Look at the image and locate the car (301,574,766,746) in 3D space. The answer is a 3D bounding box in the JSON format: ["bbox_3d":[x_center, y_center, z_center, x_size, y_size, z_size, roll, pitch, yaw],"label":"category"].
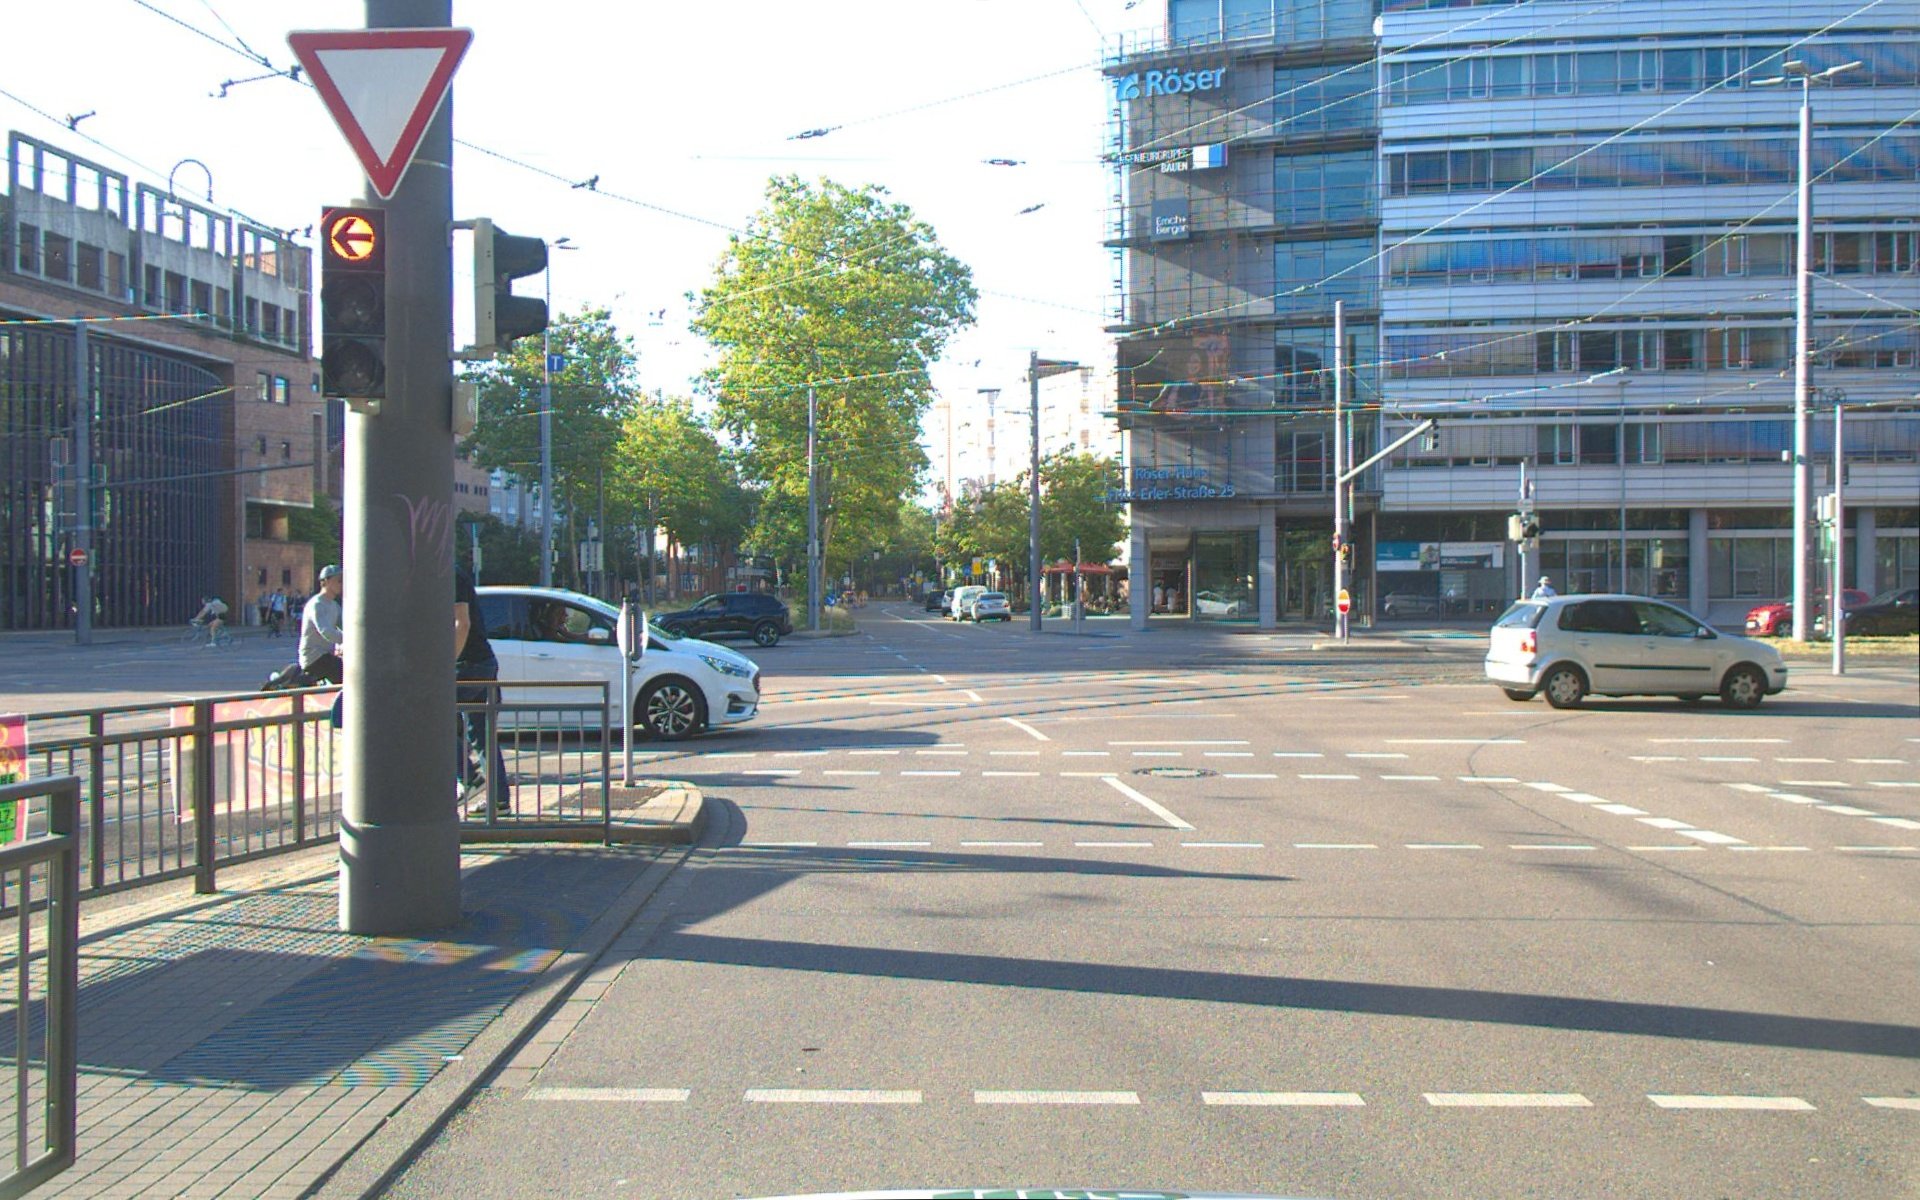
[{"bbox_3d":[-4.558,0.609,18.383,4.741,1.758,1.997,0,0,-7],"label":"car"}]

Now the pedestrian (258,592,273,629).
[{"bbox_3d":[-34.735,0.500,82.730,0.479,1.842,0.546,-1,0,6],"label":"pedestrian"}]

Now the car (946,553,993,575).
[{"bbox_3d":[0.803,-3.091,141.256,3.681,1.780,1.783,1,0,14],"label":"car"}]

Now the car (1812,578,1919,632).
[{"bbox_3d":[25.380,0.113,44.310,4.151,1.417,1.796,-1,0,4],"label":"car"}]

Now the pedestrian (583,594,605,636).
[{"bbox_3d":[-13.850,0.569,62.604,0.740,1.557,0.507,1,0,-8],"label":"pedestrian"}]

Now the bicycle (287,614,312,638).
[{"bbox_3d":[-26.111,1.019,65.416,0.503,0.897,1.835,-1,0,-8],"label":"bicycle"}]

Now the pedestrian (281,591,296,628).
[{"bbox_3d":[-34.061,0.487,83.916,0.479,1.842,0.546,-1,0,6],"label":"pedestrian"}]

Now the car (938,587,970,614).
[{"bbox_3d":[-0.384,0.019,104.999,1.953,1.691,3.999,-1,0,-1],"label":"car"}]

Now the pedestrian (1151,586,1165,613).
[{"bbox_3d":[10.979,-0.037,91.810,0.723,1.491,0.537,-1,0,8],"label":"pedestrian"}]

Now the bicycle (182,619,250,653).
[{"bbox_3d":[-21.379,1.030,47.557,1.714,0.915,0.407,-1,0,-17],"label":"bicycle"}]

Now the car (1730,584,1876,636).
[{"bbox_3d":[25.513,0.302,50.136,3.520,1.492,1.797,-1,0,6],"label":"car"}]

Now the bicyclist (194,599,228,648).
[{"bbox_3d":[-21.513,0.660,47.514,0.806,1.390,0.398,-1,0,-17],"label":"bicyclist"}]

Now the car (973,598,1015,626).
[{"bbox_3d":[1.662,0.587,82.875,1.953,1.355,3.999,-1,0,-1],"label":"car"}]

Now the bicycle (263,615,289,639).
[{"bbox_3d":[-26.905,1.050,65.098,0.503,0.897,1.835,-1,0,-8],"label":"bicycle"}]

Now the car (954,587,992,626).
[{"bbox_3d":[0.671,0.338,89.699,1.953,2.026,3.999,-1,0,-1],"label":"car"}]

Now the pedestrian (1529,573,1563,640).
[{"bbox_3d":[15.209,0.175,42.925,0.704,1.711,0.557,1,0,6],"label":"pedestrian"}]

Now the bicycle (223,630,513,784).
[{"bbox_3d":[-5.108,0.905,14.382,2.112,1.248,1.073,0,1,3],"label":"bicycle"}]

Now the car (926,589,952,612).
[{"bbox_3d":[-1.642,0.055,126.696,1.953,1.691,3.999,-1,0,-1],"label":"car"}]

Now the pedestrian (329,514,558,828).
[{"bbox_3d":[-3.195,0.418,10.359,1.185,1.854,1.040,0,0,-7],"label":"pedestrian"}]

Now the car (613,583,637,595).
[{"bbox_3d":[-43.811,-1.433,216.510,1.951,1.534,4.003,-1,0,7],"label":"car"}]

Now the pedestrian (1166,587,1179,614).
[{"bbox_3d":[11.729,0.046,91.432,0.691,1.491,0.384,-1,0,8],"label":"pedestrian"}]

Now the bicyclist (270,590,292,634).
[{"bbox_3d":[-26.756,0.481,65.210,0.582,1.705,0.788,-1,0,-7],"label":"bicyclist"}]

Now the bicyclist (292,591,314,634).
[{"bbox_3d":[-26.013,0.497,65.477,0.582,1.705,0.788,-1,0,-7],"label":"bicyclist"}]

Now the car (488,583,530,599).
[{"bbox_3d":[-46.864,-0.976,171.901,3.948,1.579,1.589,1,-1,-32],"label":"car"}]

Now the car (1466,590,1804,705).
[{"bbox_3d":[9.033,0.611,22.328,3.831,1.459,1.824,0,0,-3],"label":"car"}]

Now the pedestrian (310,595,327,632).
[{"bbox_3d":[-32.650,0.685,84.207,0.627,1.842,0.546,-1,0,6],"label":"pedestrian"}]

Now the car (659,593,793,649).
[{"bbox_3d":[-6.853,0.599,48.382,3.791,1.533,1.791,-1,0,-11],"label":"car"}]

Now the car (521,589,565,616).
[{"bbox_3d":[-24.459,0.142,97.173,1.955,1.534,3.994,-1,0,-6],"label":"car"}]

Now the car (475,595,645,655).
[{"bbox_3d":[-10.361,0.623,43.135,4.164,1.459,1.791,-1,0,-11],"label":"car"}]

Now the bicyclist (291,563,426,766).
[{"bbox_3d":[-5.214,0.547,14.368,0.885,1.710,0.691,-1,0,2],"label":"bicyclist"}]
